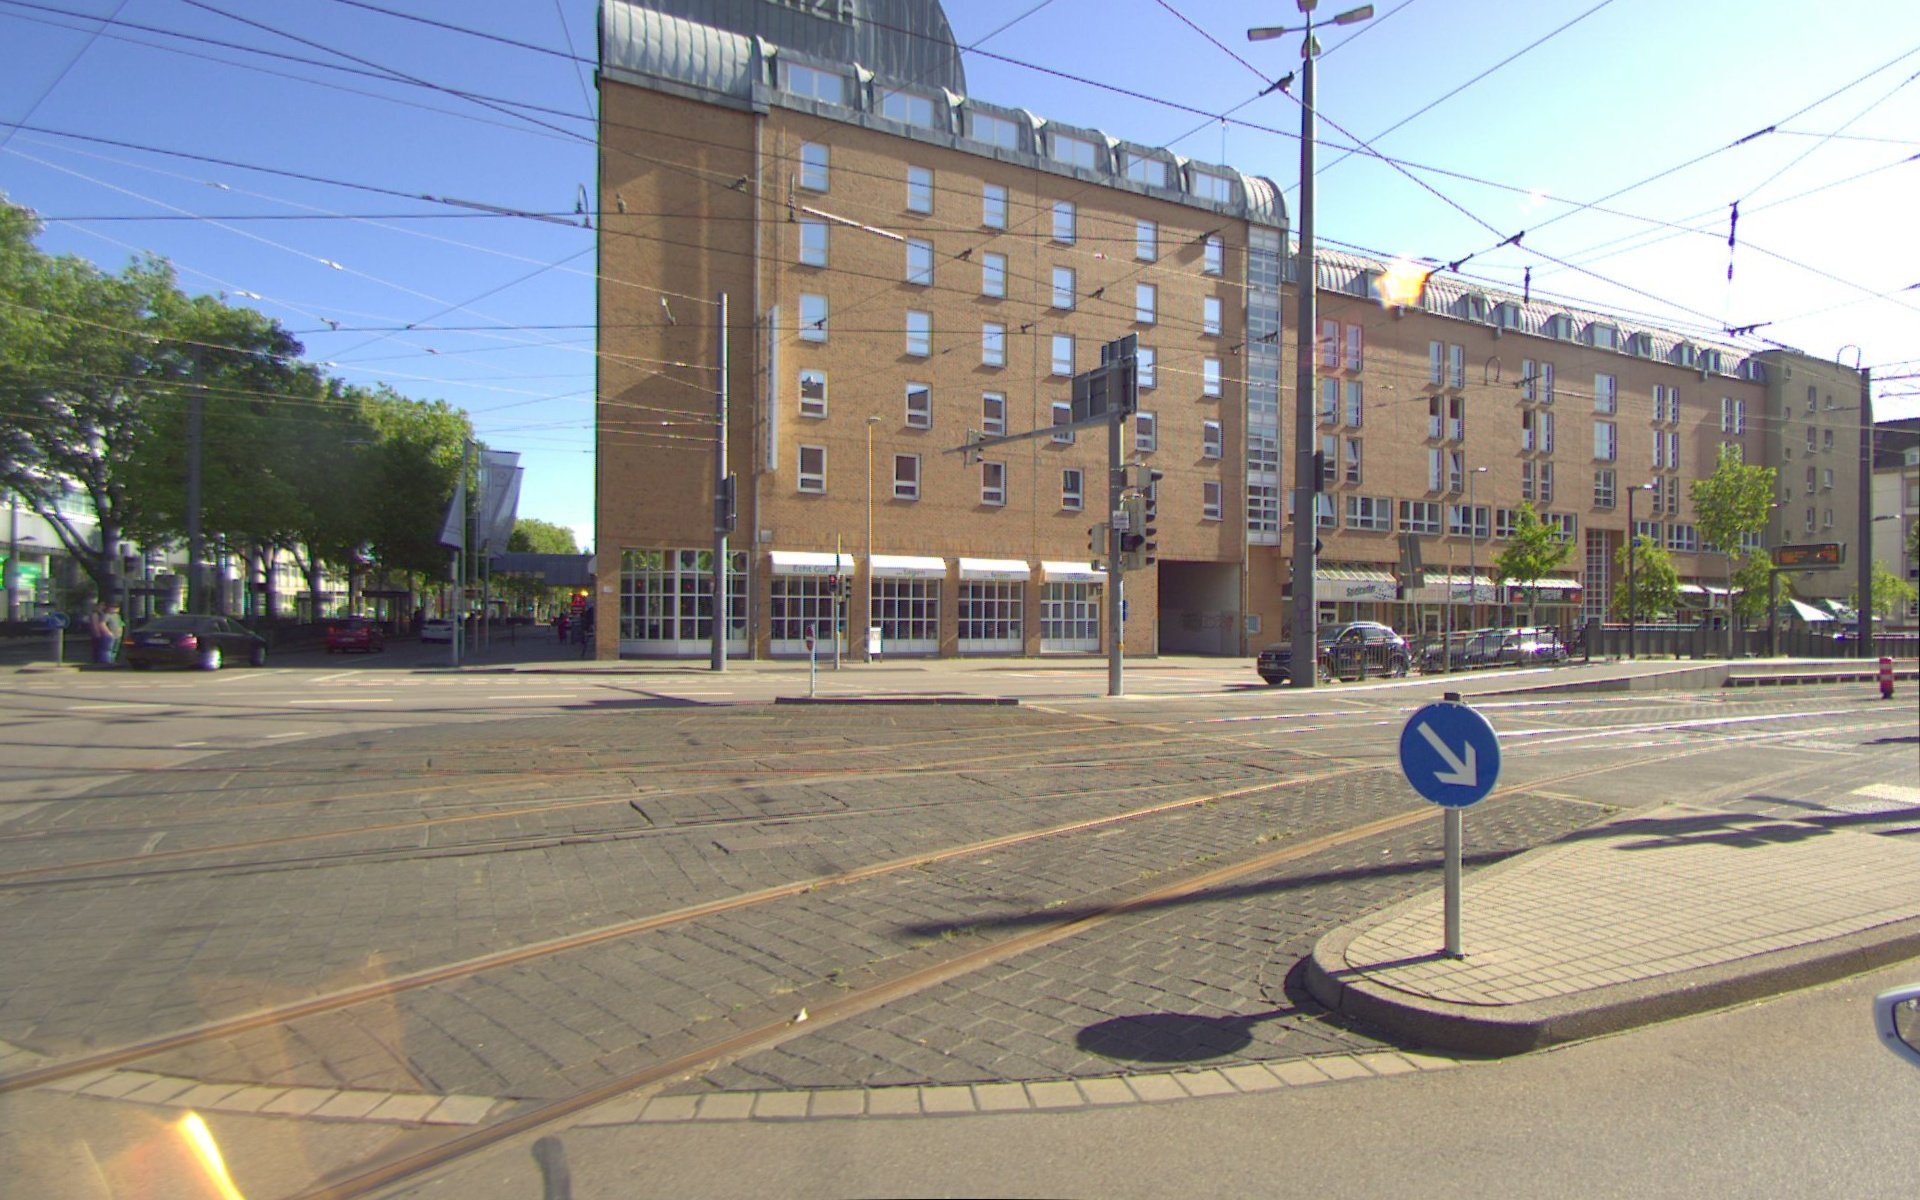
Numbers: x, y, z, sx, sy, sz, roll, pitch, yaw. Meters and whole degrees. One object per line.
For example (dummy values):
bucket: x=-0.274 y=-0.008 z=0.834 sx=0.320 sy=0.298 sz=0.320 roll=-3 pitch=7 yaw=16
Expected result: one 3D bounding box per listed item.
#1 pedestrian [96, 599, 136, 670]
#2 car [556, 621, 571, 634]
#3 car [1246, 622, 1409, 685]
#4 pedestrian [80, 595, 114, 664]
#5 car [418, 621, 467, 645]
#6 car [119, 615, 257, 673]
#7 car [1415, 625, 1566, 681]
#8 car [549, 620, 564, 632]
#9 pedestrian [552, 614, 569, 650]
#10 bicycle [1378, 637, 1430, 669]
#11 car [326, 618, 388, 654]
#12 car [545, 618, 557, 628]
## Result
pedestrian: x=-23.721 y=0.967 z=28.223 sx=0.742 sy=1.958 sz=0.521 roll=0 pitch=-1 yaw=-28
car: x=-58.999 y=4.034 z=149.513 sx=1.970 sy=1.884 sz=3.981 roll=1 pitch=-1 yaw=-21
car: x=9.210 y=1.329 z=25.131 sx=3.869 sy=1.416 sz=1.604 roll=0 pitch=-4 yaw=-28
pedestrian: x=-24.957 y=0.850 z=29.053 sx=0.518 sy=1.958 sz=0.524 roll=0 pitch=-1 yaw=-1
car: x=-31.225 y=1.989 z=60.708 sx=2.035 sy=1.399 sz=4.393 roll=1 pitch=-1 yaw=-20
car: x=-21.207 y=1.167 z=27.805 sx=1.706 sy=1.468 sz=4.500 roll=1 pitch=-1 yaw=-20
car: x=14.816 y=1.471 z=28.018 sx=4.173 sy=1.416 sz=1.604 roll=0 pitch=-4 yaw=-28
car: x=-63.409 y=4.091 z=157.873 sx=1.970 sy=1.884 sz=3.981 roll=1 pitch=-1 yaw=-21
pedestrian: x=-21.955 y=1.754 z=55.220 sx=0.821 sy=1.957 sz=0.557 roll=1 pitch=-1 yaw=-25
bicycle: x=19.816 y=2.362 z=44.895 sx=0.722 sy=1.327 sz=2.484 roll=0 pitch=-1 yaw=-17
car: x=-25.811 y=1.499 z=43.112 sx=1.634 sy=1.468 sz=3.568 roll=1 pitch=-1 yaw=-20
car: x=-76.712 y=4.373 z=188.278 sx=1.970 sy=1.884 sz=3.981 roll=1 pitch=-1 yaw=-21
